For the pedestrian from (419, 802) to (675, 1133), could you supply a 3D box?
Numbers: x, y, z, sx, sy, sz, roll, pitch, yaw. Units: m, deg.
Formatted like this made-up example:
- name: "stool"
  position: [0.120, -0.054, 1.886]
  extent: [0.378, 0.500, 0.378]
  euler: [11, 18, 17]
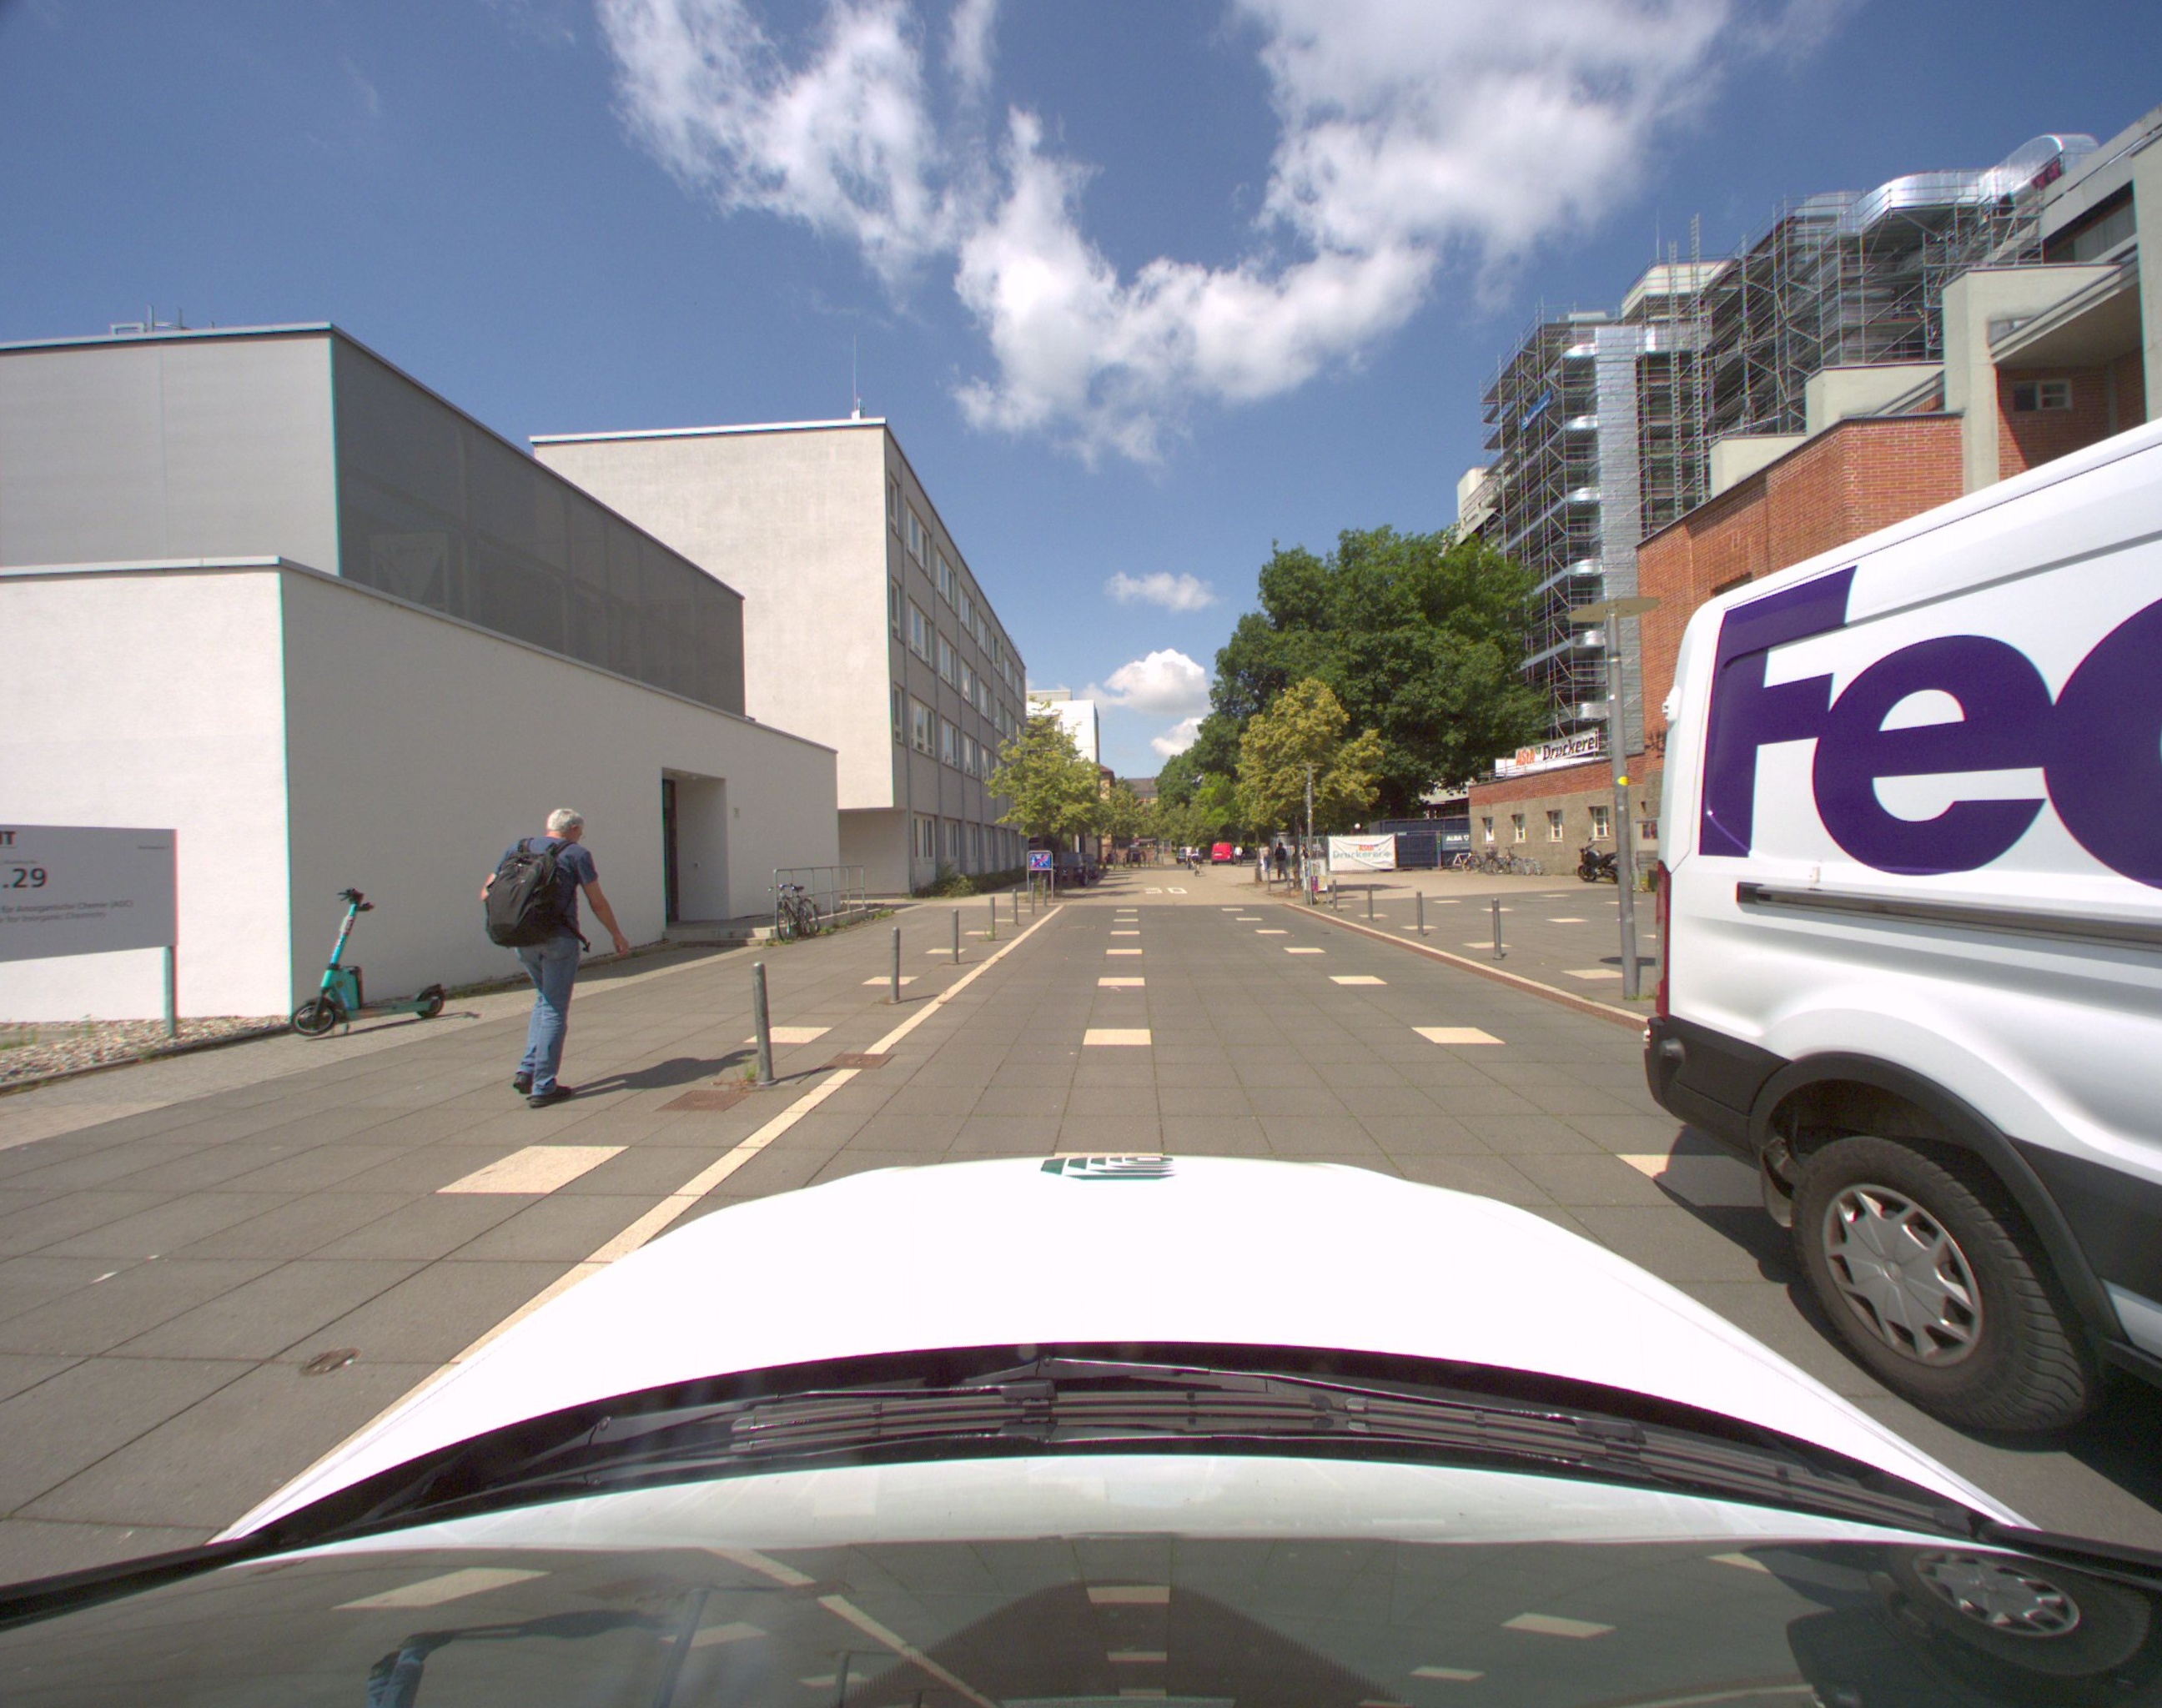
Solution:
- name: "pedestrian"
  position: [-3.269, 0.630, 5.128]
  extent: [0.821, 1.817, 1.143]
  euler: [-2, 0, -2]

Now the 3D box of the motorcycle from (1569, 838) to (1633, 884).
- name: "motorcycle"
  position: [15.843, 0.195, 24.876]
  extent: [0.692, 1.323, 2.223]
  euler: [-2, 0, 6]

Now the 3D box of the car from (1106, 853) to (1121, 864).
- name: "car"
  position: [4.108, 0.606, 102.887]
  extent: [1.810, 1.324, 3.770]
  euler: [-2, 0, 2]

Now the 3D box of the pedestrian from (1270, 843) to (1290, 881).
- name: "pedestrian"
  position: [8.968, 0.357, 36.635]
  extent: [0.640, 1.697, 0.792]
  euler: [-2, 0, -2]

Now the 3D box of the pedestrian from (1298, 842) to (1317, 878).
- name: "pedestrian"
  position: [10.838, 0.285, 38.994]
  extent: [0.646, 1.666, 0.906]
  euler: [-2, 0, 5]

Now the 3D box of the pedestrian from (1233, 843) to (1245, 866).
- name: "pedestrian"
  position: [12.237, 0.017, 63.052]
  extent: [0.689, 1.781, 0.790]
  euler: [-2, 0, 17]

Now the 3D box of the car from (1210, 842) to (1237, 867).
- name: "car"
  position: [11.824, 0.017, 67.555]
  extent: [1.835, 1.891, 4.908]
  euler: [-2, 0, 13]

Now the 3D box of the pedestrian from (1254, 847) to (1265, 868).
- name: "pedestrian"
  position: [16.308, 0.324, 74.502]
  extent: [0.726, 1.821, 0.623]
  euler: [-1, -1, -32]

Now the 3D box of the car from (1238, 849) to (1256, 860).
- name: "car"
  position: [24.146, 0.077, 118.460]
  extent: [1.744, 1.522, 4.135]
  euler: [-2, 0, 24]

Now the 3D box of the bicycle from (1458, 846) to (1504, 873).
- name: "bicycle"
  position: [17.362, 0.253, 35.361]
  extent: [1.694, 1.109, 0.448]
  euler: [-2, 0, 3]

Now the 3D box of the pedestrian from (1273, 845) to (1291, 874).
- name: "pedestrian"
  position: [11.281, 0.294, 45.706]
  extent: [0.666, 1.600, 0.985]
  euler: [-2, 0, -1]

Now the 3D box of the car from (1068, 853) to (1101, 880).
- name: "car"
  position: [0.228, 0.680, 47.268]
  extent: [1.771, 1.461, 4.261]
  euler: [-1, 0, 2]

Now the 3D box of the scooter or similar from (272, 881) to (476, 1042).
- name: "scooter or similar"
  position: [-6.340, 0.909, 7.383]
  extent: [0.479, 1.263, 1.319]
  euler: [-2, 0, 16]

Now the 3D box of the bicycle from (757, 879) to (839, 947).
- name: "bicycle"
  position: [-5.030, 1.017, 14.608]
  extent: [0.540, 1.061, 1.903]
  euler: [-2, 0, 8]

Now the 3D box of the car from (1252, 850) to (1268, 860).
- name: "car"
  position: [27.557, 0.111, 125.348]
  extent: [1.601, 1.387, 4.023]
  euler: [-2, 0, 24]

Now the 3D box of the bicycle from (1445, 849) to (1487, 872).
- name: "bicycle"
  position: [17.806, 0.306, 37.698]
  extent: [1.664, 1.003, 0.448]
  euler: [-2, 0, 3]

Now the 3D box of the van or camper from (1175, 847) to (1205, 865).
- name: "van or camper"
  position: [12.629, 0.223, 94.209]
  extent: [1.936, 1.923, 5.450]
  euler: [-1, 0, 23]

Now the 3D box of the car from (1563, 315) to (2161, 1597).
- name: "car"
  position: [3.134, 0.196, 0.693]
  extent: [2.051, 2.543, 5.852]
  euler: [-2, 0, 2]

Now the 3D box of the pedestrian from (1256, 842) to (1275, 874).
- name: "pedestrian"
  position: [10.435, 0.219, 46.021]
  extent: [0.847, 1.764, 0.716]
  euler: [-2, 0, 0]

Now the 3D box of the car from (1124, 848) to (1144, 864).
- name: "car"
  position: [6.667, 0.223, 102.792]
  extent: [2.167, 1.926, 5.188]
  euler: [-2, 0, 1]

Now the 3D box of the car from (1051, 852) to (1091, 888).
- name: "car"
  position: [-0.442, 0.725, 39.162]
  extent: [1.690, 1.564, 4.070]
  euler: [-2, 0, 2]

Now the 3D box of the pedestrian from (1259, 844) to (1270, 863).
- name: "pedestrian"
  position: [16.475, -0.039, 73.244]
  extent: [0.748, 1.710, 0.558]
  euler: [-1, -1, -33]

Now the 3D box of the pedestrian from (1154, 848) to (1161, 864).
- name: "pedestrian"
  position: [8.519, 0.241, 90.856]
  extent: [0.580, 1.764, 0.914]
  euler: [-2, 0, 9]

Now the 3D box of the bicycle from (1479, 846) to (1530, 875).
- name: "bicycle"
  position: [17.309, 0.250, 33.301]
  extent: [1.798, 1.109, 0.448]
  euler: [-2, 0, 3]
